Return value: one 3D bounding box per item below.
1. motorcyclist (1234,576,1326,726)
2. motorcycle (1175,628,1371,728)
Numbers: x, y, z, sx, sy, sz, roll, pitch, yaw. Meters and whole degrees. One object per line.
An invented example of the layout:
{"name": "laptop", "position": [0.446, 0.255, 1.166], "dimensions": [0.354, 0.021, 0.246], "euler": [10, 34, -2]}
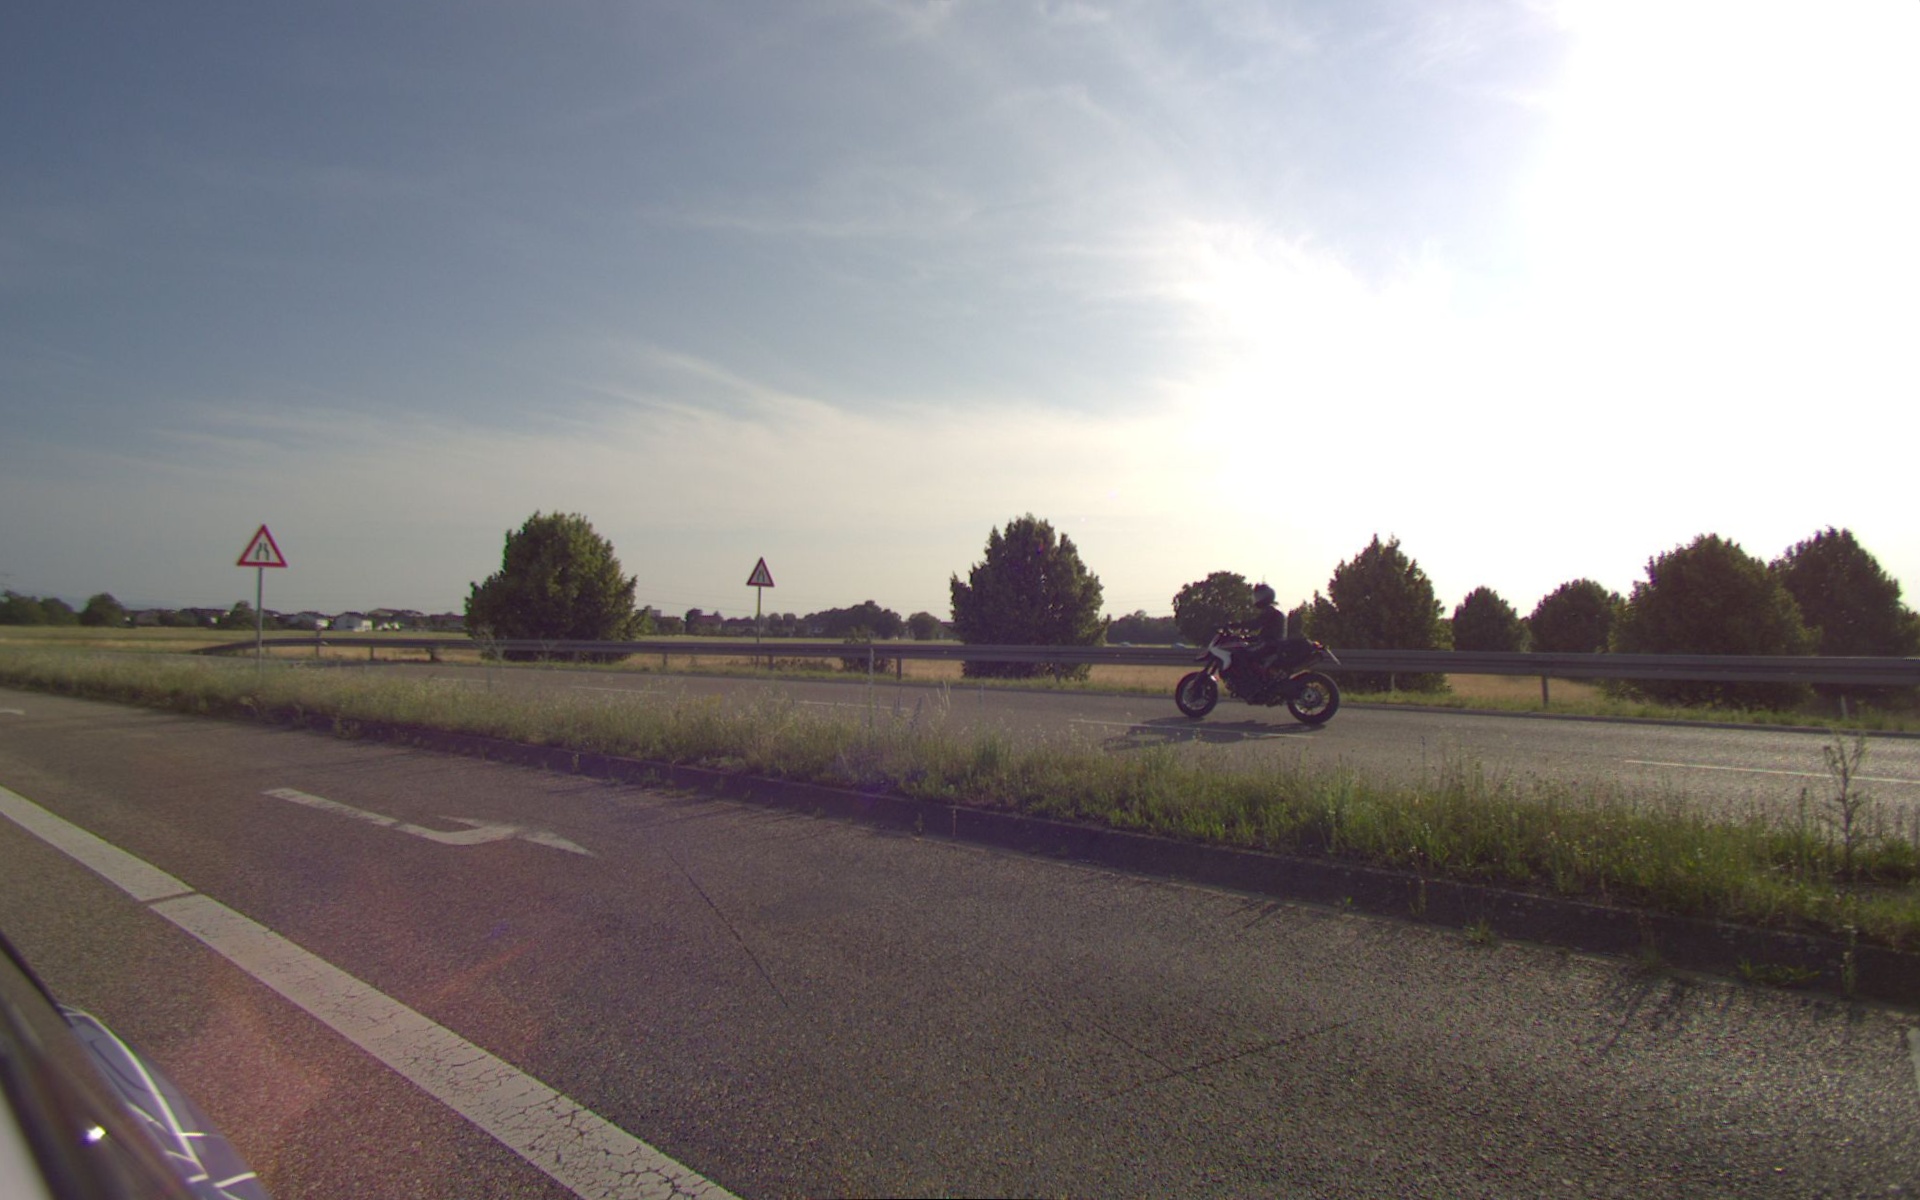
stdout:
{"name": "motorcyclist", "position": [3.999, 0.611, 12.628], "dimensions": [0.830, 1.771, 0.896], "euler": [-1, -1, 36]}
{"name": "motorcycle", "position": [3.917, 0.940, 12.749], "dimensions": [2.166, 1.133, 0.929], "euler": [-1, -1, 35]}
